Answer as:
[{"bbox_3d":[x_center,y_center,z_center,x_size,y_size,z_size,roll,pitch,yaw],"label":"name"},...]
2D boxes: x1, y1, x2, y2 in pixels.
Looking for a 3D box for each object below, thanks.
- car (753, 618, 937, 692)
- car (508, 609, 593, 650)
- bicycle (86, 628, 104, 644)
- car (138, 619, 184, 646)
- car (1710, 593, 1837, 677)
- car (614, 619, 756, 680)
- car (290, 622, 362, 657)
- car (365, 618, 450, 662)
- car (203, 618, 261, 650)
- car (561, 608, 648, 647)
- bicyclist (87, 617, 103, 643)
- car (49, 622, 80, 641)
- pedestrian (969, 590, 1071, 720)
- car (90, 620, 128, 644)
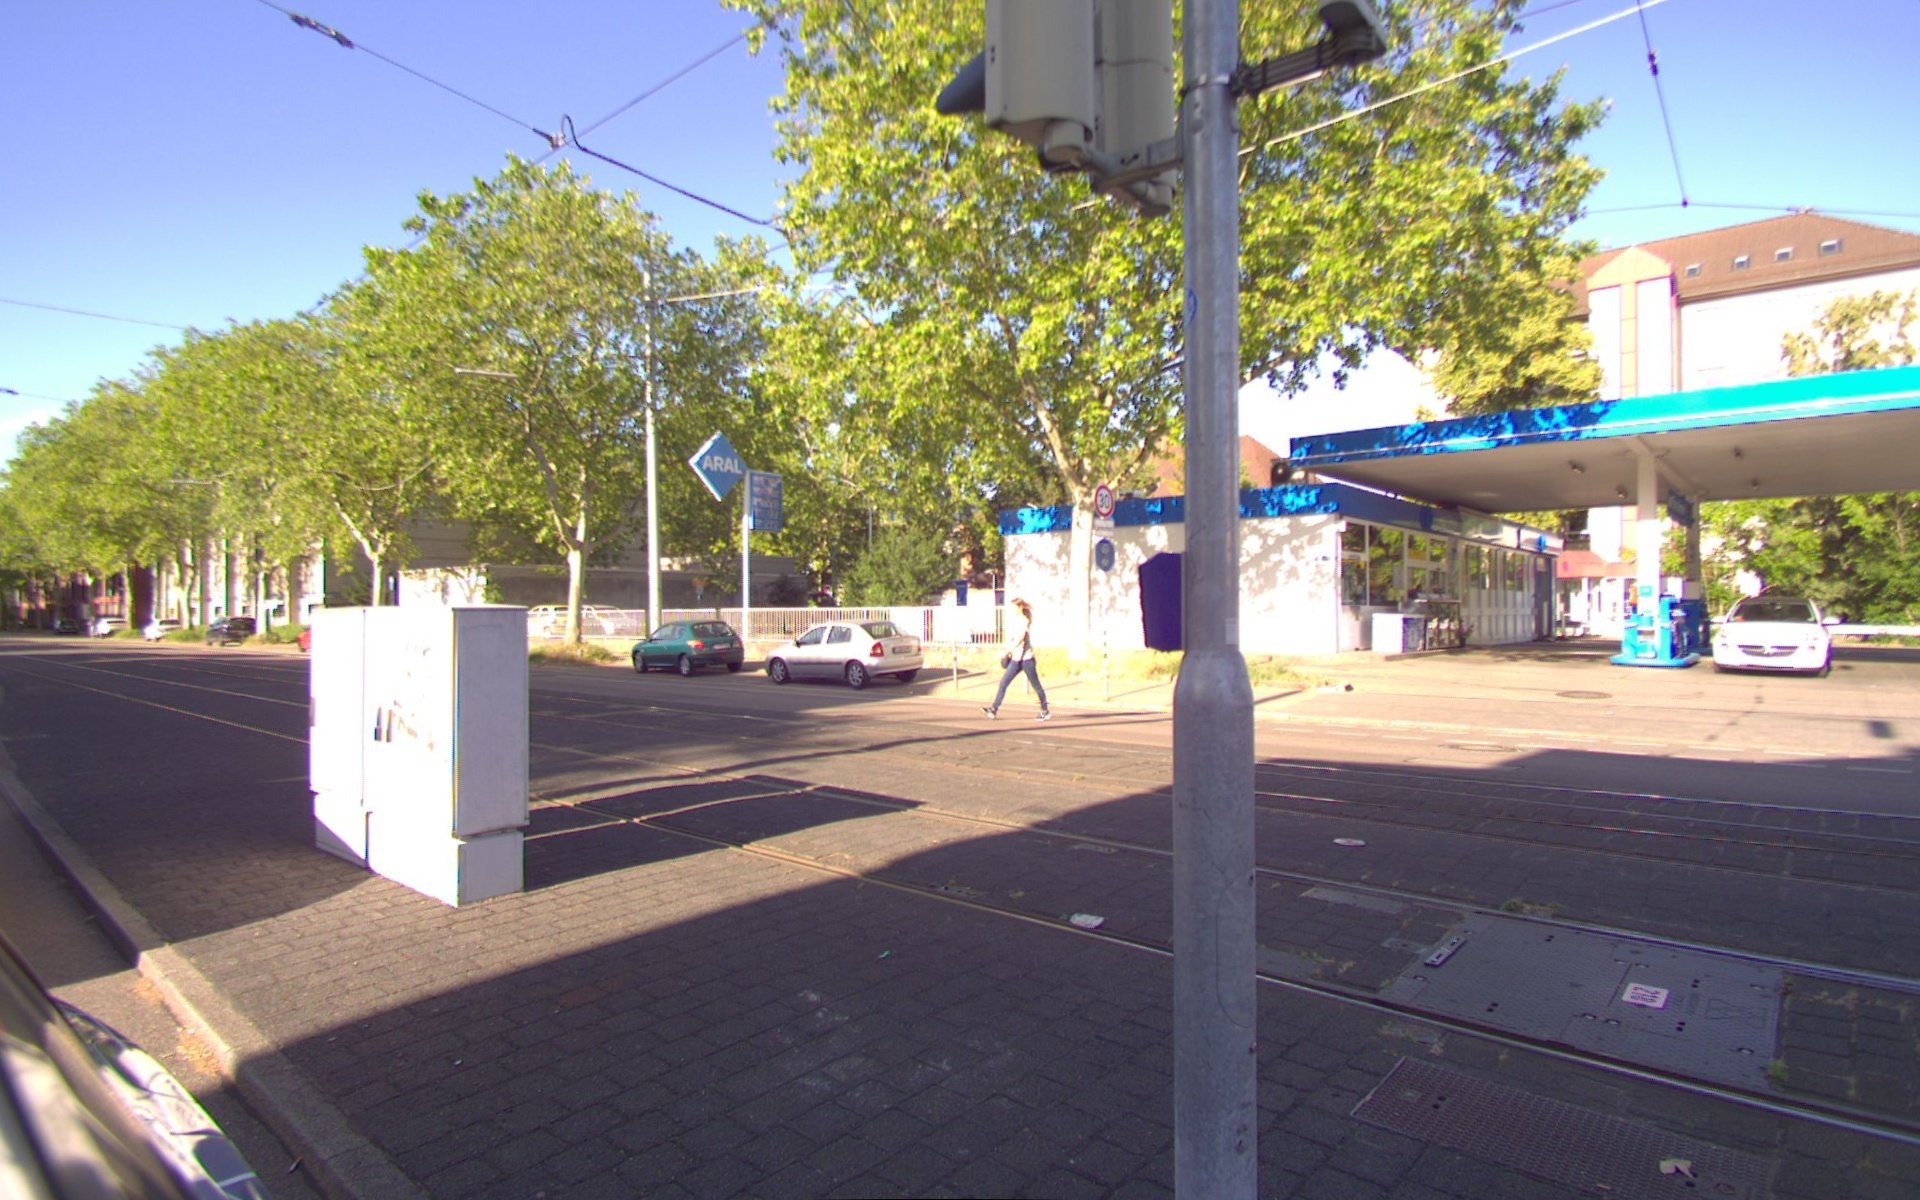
[{"bbox_3d":[-2.627,1.176,22.644,3.997,1.418,1.823,-1,1,40],"label":"car"},{"bbox_3d":[-17.137,1.193,42.280,4.002,1.545,1.820,-1,1,45],"label":"car"},{"bbox_3d":[-61.655,2.577,72.133,2.532,1.129,0.645,-1,-1,41],"label":"bicycle"},{"bbox_3d":[-53.842,2.159,68.207,4.098,1.686,1.821,-1,1,44],"label":"car"},{"bbox_3d":[16.008,0.640,19.872,1.780,1.475,3.946,-1,-1,40],"label":"car"},{"bbox_3d":[-7.433,1.273,27.134,4.138,1.418,1.820,-1,1,45],"label":"car"},{"bbox_3d":[-28.968,1.772,46.180,4.001,1.418,1.821,-1,1,44],"label":"car"},{"bbox_3d":[-21.968,1.539,40.187,4.002,1.545,1.820,-1,1,45],"label":"car"},{"bbox_3d":[-40.659,1.884,56.482,4.098,1.628,1.821,-1,1,44],"label":"car"},{"bbox_3d":[-15.396,1.171,43.772,3.999,1.545,1.822,-1,1,42],"label":"car"},{"bbox_3d":[-61.661,2.130,72.172,1.070,1.878,0.711,-1,-2,41],"label":"bicyclist"},{"bbox_3d":[-85.041,2.945,96.103,4.098,1.686,1.821,-1,1,44],"label":"car"},{"bbox_3d":[0.783,0.714,13.244,1.087,1.631,0.718,2,-2,-28],"label":"pedestrian"},{"bbox_3d":[-66.945,2.487,79.579,4.098,1.686,1.821,-1,1,44],"label":"car"}]
